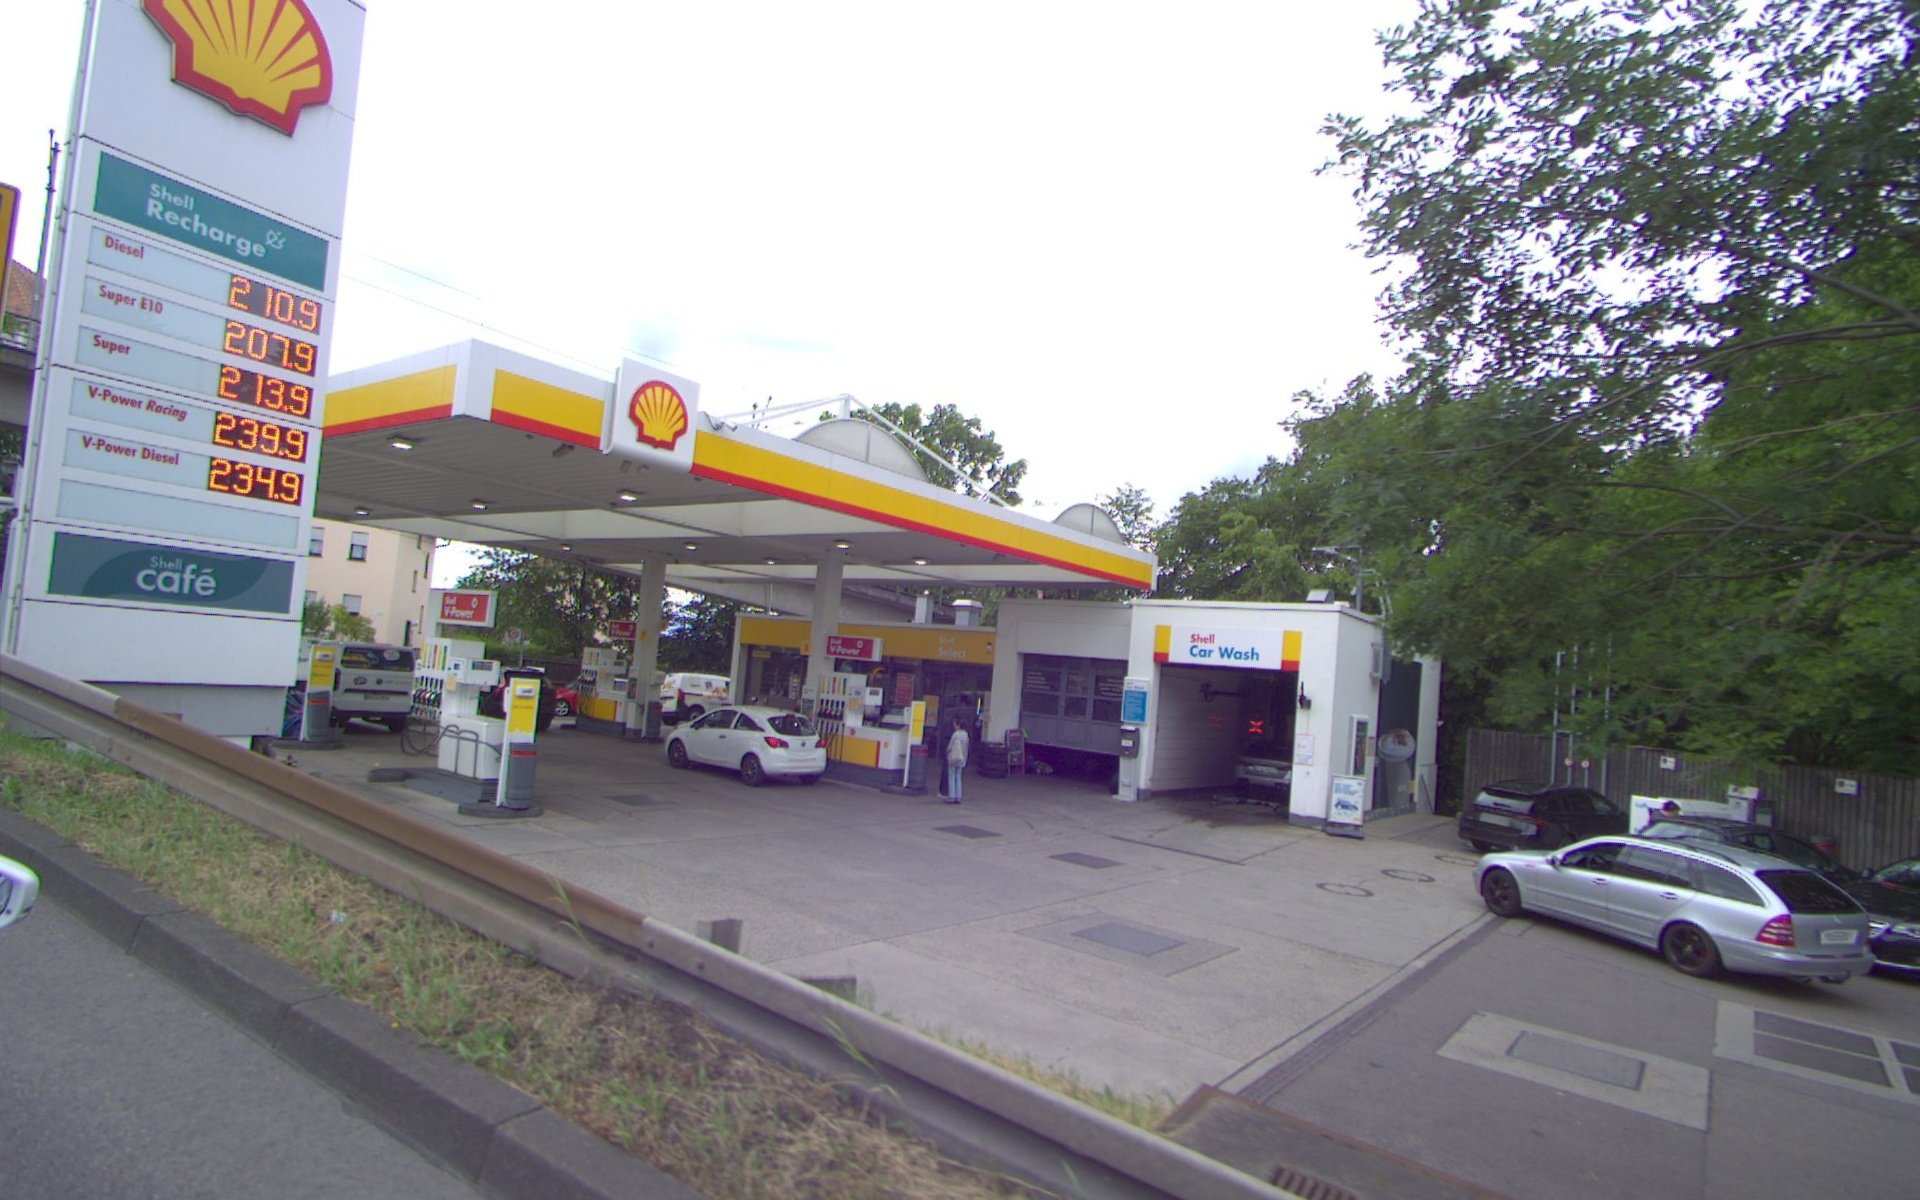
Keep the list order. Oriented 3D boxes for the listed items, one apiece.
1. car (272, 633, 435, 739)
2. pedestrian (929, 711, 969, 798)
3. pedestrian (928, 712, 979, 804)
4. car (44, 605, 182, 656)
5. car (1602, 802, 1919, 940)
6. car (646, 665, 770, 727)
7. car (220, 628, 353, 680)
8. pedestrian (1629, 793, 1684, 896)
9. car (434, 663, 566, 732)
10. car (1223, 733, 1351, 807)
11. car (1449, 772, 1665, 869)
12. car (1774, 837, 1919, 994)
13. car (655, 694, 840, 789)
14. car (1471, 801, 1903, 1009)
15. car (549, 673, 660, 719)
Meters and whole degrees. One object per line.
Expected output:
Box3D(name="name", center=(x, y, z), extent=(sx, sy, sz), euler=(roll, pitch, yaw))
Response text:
Box3D(name="car", center=(-14.050, 1.937, 23.183), extent=(4.651, 2.033, 1.734), euler=(2, -4, 41))
Box3D(name="pedestrian", center=(-0.226, 3.185, 20.809), extent=(0.424, 1.724, 0.492), euler=(6, -1, 30))
Box3D(name="pedestrian", center=(-0.129, 3.123, 19.995), extent=(0.600, 1.724, 0.543), euler=(6, -1, 34))
Box3D(name="car", center=(-33.781, 1.254, 40.238), extent=(3.721, 1.408, 1.646), euler=(10, -6, -21))
Box3D(name="car", center=(12.105, 4.055, 15.156), extent=(4.031, 1.537, 1.627), euler=(5, -2, -11))
Box3D(name="car", center=(-8.910, 3.440, 35.792), extent=(1.720, 1.960, 3.858), euler=(2, -5, 44))
Box3D(name="car", center=(-28.251, 2.294, 42.362), extent=(4.253, 1.536, 1.618), euler=(11, -6, -23))
Box3D(name="pedestrian", center=(11.352, 3.975, 16.401), extent=(0.425, 1.554, 0.469), euler=(10, -5, -13))
Box3D(name="car", center=(-12.539, 2.623, 27.334), extent=(3.826, 1.502, 1.734), euler=(1, -4, 41))
Box3D(name="car", center=(8.214, 4.165, 25.105), extent=(1.717, 1.502, 3.864), euler=(2, -4, 39))
Box3D(name="car", center=(11.701, 4.258, 19.675), extent=(4.056, 1.453, 1.713), euler=(6, -2, -28))
Box3D(name="car", center=(12.957, 4.018, 12.796), extent=(4.146, 1.453, 1.733), euler=(5, -2, -11))
Box3D(name="car", center=(-4.490, 2.887, 21.001), extent=(3.826, 1.502, 1.734), euler=(1, -4, 41))
Box3D(name="car", center=(8.804, 3.643, 12.708), extent=(1.577, 1.448, 4.282), euler=(6, -3, -17))
Box3D(name="car", center=(-13.494, 3.656, 38.219), extent=(3.592, 1.474, 1.645), euler=(7, -4, -33))
